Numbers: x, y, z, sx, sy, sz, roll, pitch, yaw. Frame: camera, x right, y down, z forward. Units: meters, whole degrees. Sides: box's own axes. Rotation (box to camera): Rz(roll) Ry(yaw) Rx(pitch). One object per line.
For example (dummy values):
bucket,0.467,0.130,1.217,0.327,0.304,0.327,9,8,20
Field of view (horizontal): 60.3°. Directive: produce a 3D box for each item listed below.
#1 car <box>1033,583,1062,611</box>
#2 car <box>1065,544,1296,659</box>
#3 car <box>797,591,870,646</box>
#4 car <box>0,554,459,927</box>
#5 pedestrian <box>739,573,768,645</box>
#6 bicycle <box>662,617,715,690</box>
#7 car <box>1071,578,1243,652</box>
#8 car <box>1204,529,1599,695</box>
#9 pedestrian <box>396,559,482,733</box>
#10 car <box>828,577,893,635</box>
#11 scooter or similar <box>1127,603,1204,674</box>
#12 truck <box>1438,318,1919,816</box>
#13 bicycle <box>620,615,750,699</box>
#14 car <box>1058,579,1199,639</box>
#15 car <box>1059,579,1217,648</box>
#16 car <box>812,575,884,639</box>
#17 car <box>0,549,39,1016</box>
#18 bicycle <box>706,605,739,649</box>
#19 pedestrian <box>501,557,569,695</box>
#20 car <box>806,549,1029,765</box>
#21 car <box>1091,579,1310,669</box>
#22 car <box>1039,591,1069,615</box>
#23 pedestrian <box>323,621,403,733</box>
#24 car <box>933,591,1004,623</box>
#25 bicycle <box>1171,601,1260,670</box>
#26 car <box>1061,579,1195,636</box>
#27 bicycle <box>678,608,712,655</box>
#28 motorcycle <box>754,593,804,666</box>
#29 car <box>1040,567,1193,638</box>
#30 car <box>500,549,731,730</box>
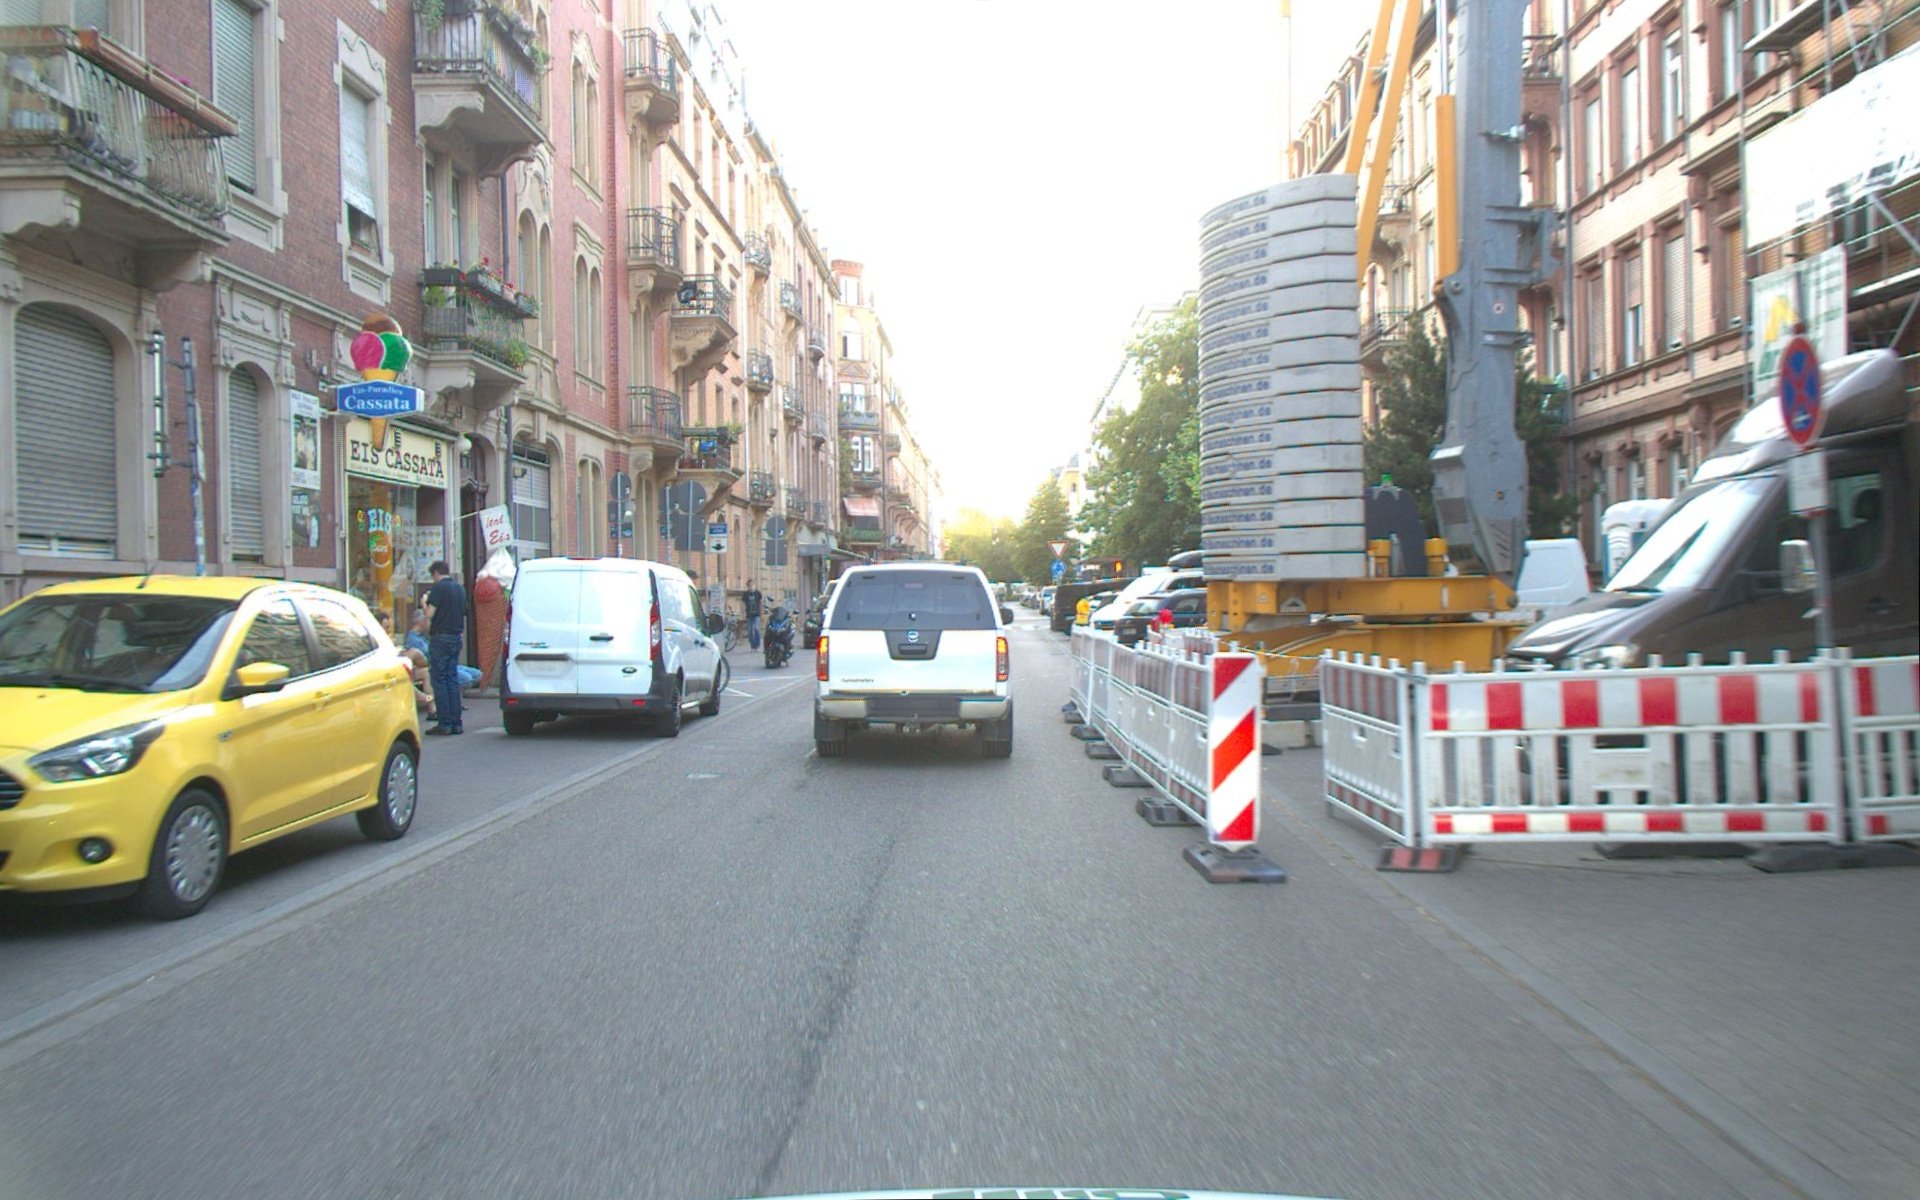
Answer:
car,6.307,-0.176,119.209,1.903,1.967,4.000,0,0,0
car,5.001,0.004,37.385,4.861,2.403,1.984,-2,0,-25
car,-3.576,0.504,47.272,1.799,1.496,4.172,-1,0,-1
car,-4.162,0.583,8.831,1.669,1.557,3.794,0,0,3
pedestrian,-5.355,0.225,42.888,0.668,1.842,0.960,1,-1,-4
bicycle,-4.206,0.817,25.669,0.456,1.087,1.521,0,-1,4
car,5.117,0.364,42.924,4.110,1.618,1.867,-4,2,-30
car,6.196,0.144,23.641,5.067,1.989,1.899,-3,1,0
pedestrian,-5.400,0.469,17.151,0.607,1.760,0.584,0,-1,29
car,-3.512,0.205,59.212,2.066,1.955,5.025,-1,0,0
scooter or similar,3.588,0.664,28.968,0.646,1.170,1.474,-3,1,-23
truck,6.854,-0.193,11.605,6.344,3.130,2.525,0,-1,4
bicycle,-3.926,0.804,23.631,1.751,1.175,0.517,1,-1,-21
car,5.266,0.283,51.439,4.055,1.578,1.800,-4,1,-31
car,4.940,0.348,45.847,4.053,1.618,1.800,-4,1,-30
car,-3.549,0.209,53.053,1.799,1.955,4.846,-1,0,2
car,-4.368,0.650,4.032,1.887,1.624,3.971,0,0,2
bicycle,-6.141,0.691,42.894,0.735,1.120,2.023,1,0,-5
pedestrian,-5.789,0.352,22.557,0.585,1.846,0.721,0,-1,19
car,-0.502,0.506,16.702,1.899,1.842,4.997,1,0,-3
car,4.629,0.431,31.834,3.806,1.542,1.833,-2,0,-25
car,6.277,0.228,110.424,1.797,1.569,4.000,0,0,0
pedestrian,-6.283,0.800,17.432,0.619,1.160,0.573,0,-1,-1
car,0.481,0.382,91.744,3.680,1.758,1.772,0,-1,12
bicycle,4.466,0.606,29.050,0.490,1.156,1.796,-3,1,-30
car,5.514,0.231,54.115,4.055,1.578,1.800,-4,1,-31
bicycle,-6.089,0.721,38.123,0.438,1.048,1.741,0,0,2
motorcycle,-3.668,0.586,33.662,0.670,1.429,2.015,0,-1,4
car,5.492,0.052,57.455,5.381,2.108,1.907,-4,1,-38
car,-3.791,0.414,18.977,1.734,1.820,4.586,0,0,-1
